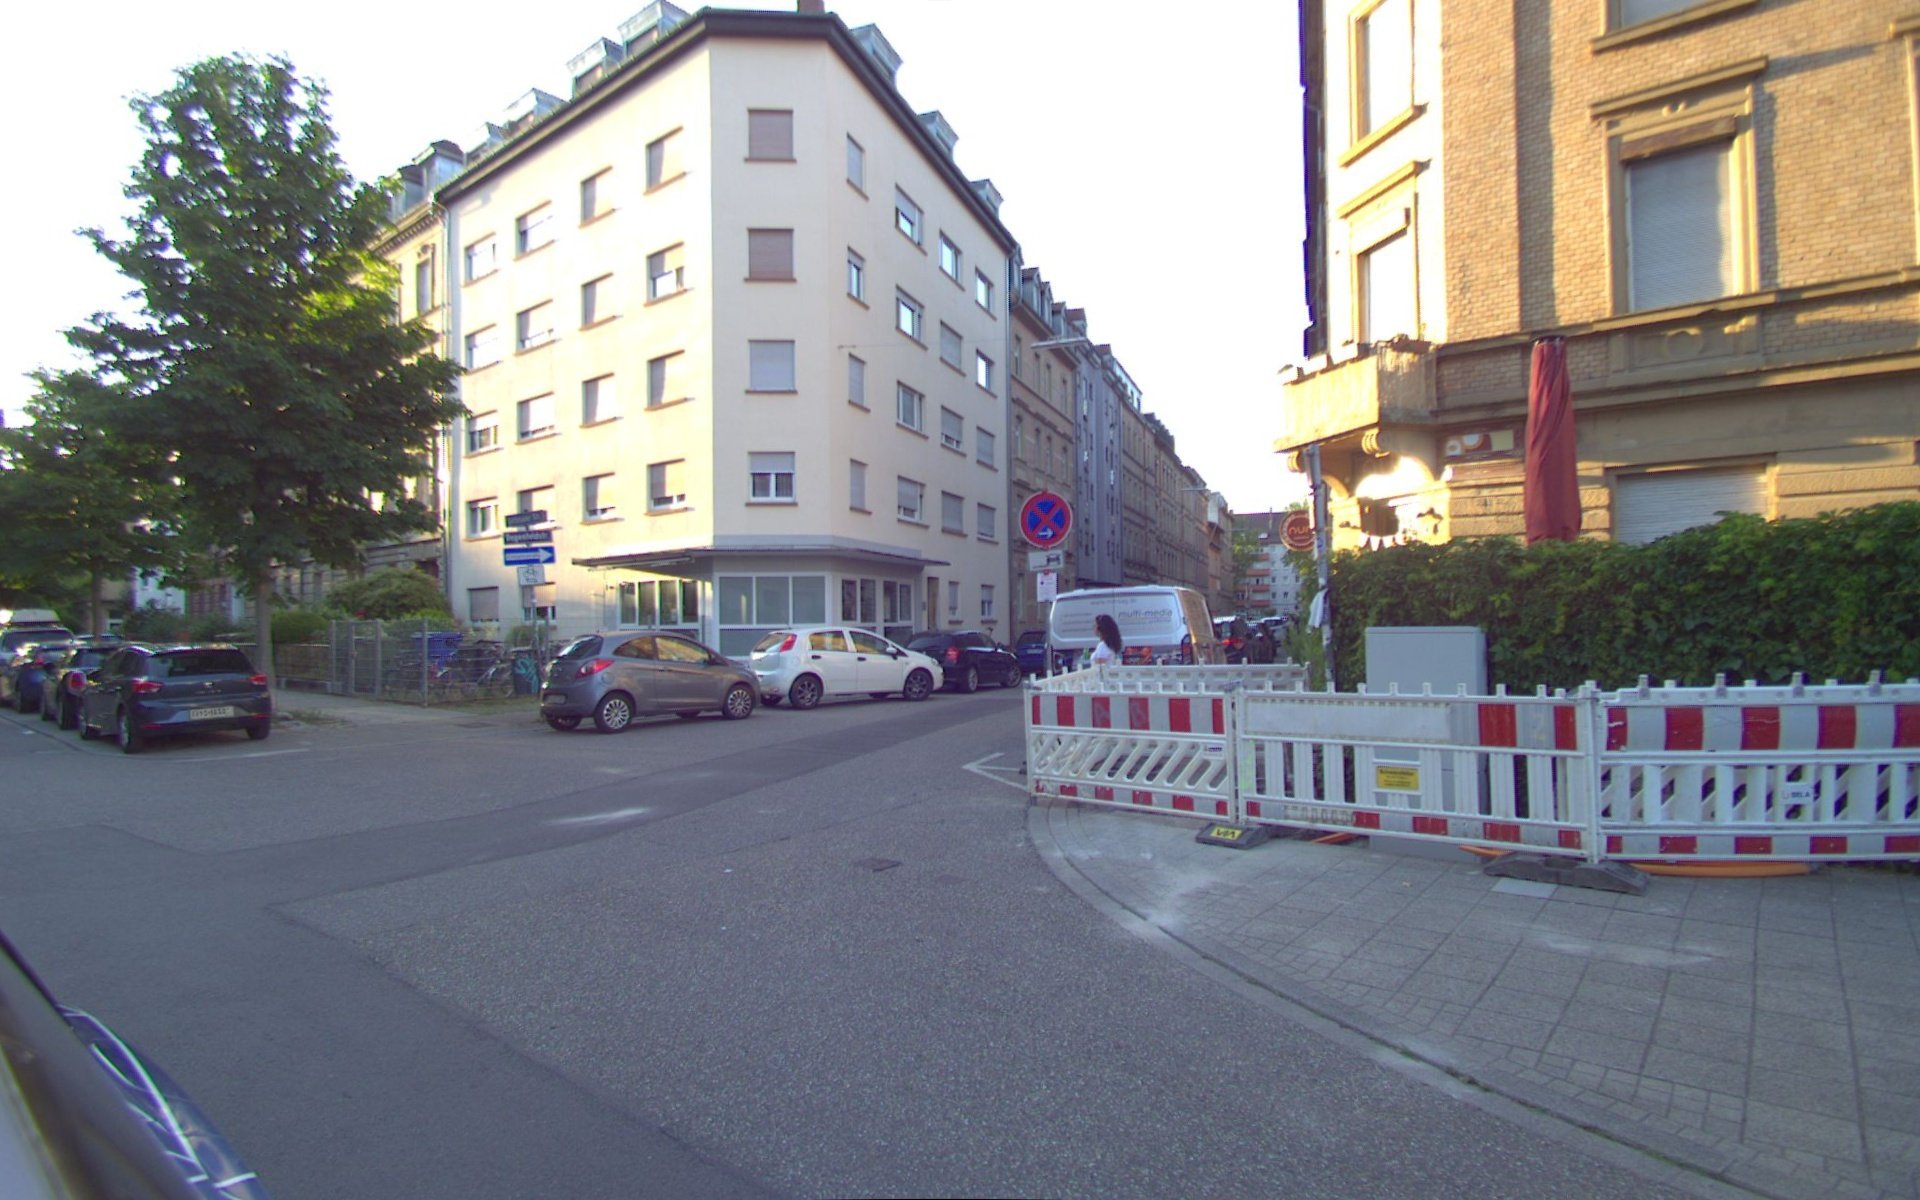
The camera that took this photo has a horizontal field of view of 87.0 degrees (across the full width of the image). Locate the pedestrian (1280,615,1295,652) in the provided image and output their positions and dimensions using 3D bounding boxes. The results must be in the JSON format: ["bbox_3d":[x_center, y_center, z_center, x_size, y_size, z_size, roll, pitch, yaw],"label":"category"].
[{"bbox_3d":[15.153,1.540,46.790,0.589,1.699,0.495,-2,0,18],"label":"pedestrian"}]

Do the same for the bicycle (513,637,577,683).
[{"bbox_3d":[-10.901,1.555,26.623,0.499,1.100,1.531,-2,0,34],"label":"bicycle"}]

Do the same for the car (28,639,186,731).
[{"bbox_3d":[-15.659,1.466,18.504,4.142,1.431,1.723,-2,-1,43],"label":"car"}]

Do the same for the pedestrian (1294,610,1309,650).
[{"bbox_3d":[15.739,1.380,46.606,0.589,1.820,0.495,-2,0,18],"label":"pedestrian"}]

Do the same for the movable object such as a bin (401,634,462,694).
[{"bbox_3d":[-12.741,1.510,24.398,1.398,1.362,0.857,-2,0,42],"label":"movable object such as a bin"}]

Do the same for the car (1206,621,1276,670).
[{"bbox_3d":[8.974,1.401,32.125,1.830,1.438,3.973,-2,-2,20],"label":"car"}]

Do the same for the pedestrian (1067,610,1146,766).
[{"bbox_3d":[1.600,0.944,11.087,0.778,1.630,0.710,-2,0,9],"label":"pedestrian"}]

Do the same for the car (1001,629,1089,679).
[{"bbox_3d":[2.721,1.647,31.523,1.860,1.419,3.976,-2,-2,18],"label":"car"}]

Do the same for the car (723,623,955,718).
[{"bbox_3d":[-2.306,1.277,19.696,4.007,1.520,1.978,-2,0,-37],"label":"car"}]

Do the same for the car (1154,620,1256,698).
[{"bbox_3d":[5.554,1.269,22.705,2.005,1.583,3.898,-2,-2,16],"label":"car"}]

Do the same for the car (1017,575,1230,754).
[{"bbox_3d":[2.499,0.799,14.070,2.190,1.990,5.264,-2,-2,17],"label":"car"}]

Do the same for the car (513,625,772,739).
[{"bbox_3d":[-4.954,1.219,16.083,1.843,1.519,3.471,-3,-2,40],"label":"car"}]

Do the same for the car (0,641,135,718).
[{"bbox_3d":[-19.562,1.631,21.864,4.586,1.423,1.843,-2,-1,40],"label":"car"}]

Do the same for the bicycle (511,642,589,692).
[{"bbox_3d":[-9.666,1.573,23.861,1.689,1.100,0.384,-2,0,4],"label":"bicycle"}]

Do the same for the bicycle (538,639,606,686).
[{"bbox_3d":[-9.923,1.588,25.905,0.499,1.100,1.617,-2,0,34],"label":"bicycle"}]

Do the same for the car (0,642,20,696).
[{"bbox_3d":[-28.361,1.970,28.860,4.020,1.452,1.711,-2,-1,39],"label":"car"}]

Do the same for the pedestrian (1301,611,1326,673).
[{"bbox_3d":[9.810,1.158,28.094,0.589,1.699,0.495,-2,0,18],"label":"pedestrian"}]

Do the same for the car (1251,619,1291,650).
[{"bbox_3d":[16.567,1.809,53.881,1.875,1.569,3.975,-2,-2,19],"label":"car"}]

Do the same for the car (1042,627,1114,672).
[{"bbox_3d":[4.266,1.737,36.065,1.773,1.478,3.976,-2,-2,18],"label":"car"}]

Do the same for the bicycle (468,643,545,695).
[{"bbox_3d":[-10.266,1.558,22.929,1.528,1.100,0.500,-2,0,3],"label":"bicycle"}]

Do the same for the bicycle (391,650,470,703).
[{"bbox_3d":[-11.310,1.608,21.591,1.927,1.033,0.681,-2,0,35],"label":"bicycle"}]

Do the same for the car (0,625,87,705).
[{"bbox_3d":[-23.366,1.553,25.122,4.619,1.792,1.843,-2,-1,40],"label":"car"}]

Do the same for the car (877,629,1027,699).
[{"bbox_3d":[-0.084,1.421,23.483,1.986,1.450,4.046,-2,-2,24],"label":"car"}]

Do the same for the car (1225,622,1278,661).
[{"bbox_3d":[11.806,1.639,40.832,1.774,1.470,3.973,-2,-2,20],"label":"car"}]

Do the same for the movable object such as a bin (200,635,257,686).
[{"bbox_3d":[-21.483,1.763,29.716,1.549,1.398,0.937,-2,0,37],"label":"movable object such as a bin"}]

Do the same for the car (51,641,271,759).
[{"bbox_3d":[-12.107,1.381,15.235,4.458,1.473,1.658,-2,-1,39],"label":"car"}]

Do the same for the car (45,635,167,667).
[{"bbox_3d":[-41.544,2.436,49.316,1.625,1.351,4.356,-2,-1,41],"label":"car"}]
